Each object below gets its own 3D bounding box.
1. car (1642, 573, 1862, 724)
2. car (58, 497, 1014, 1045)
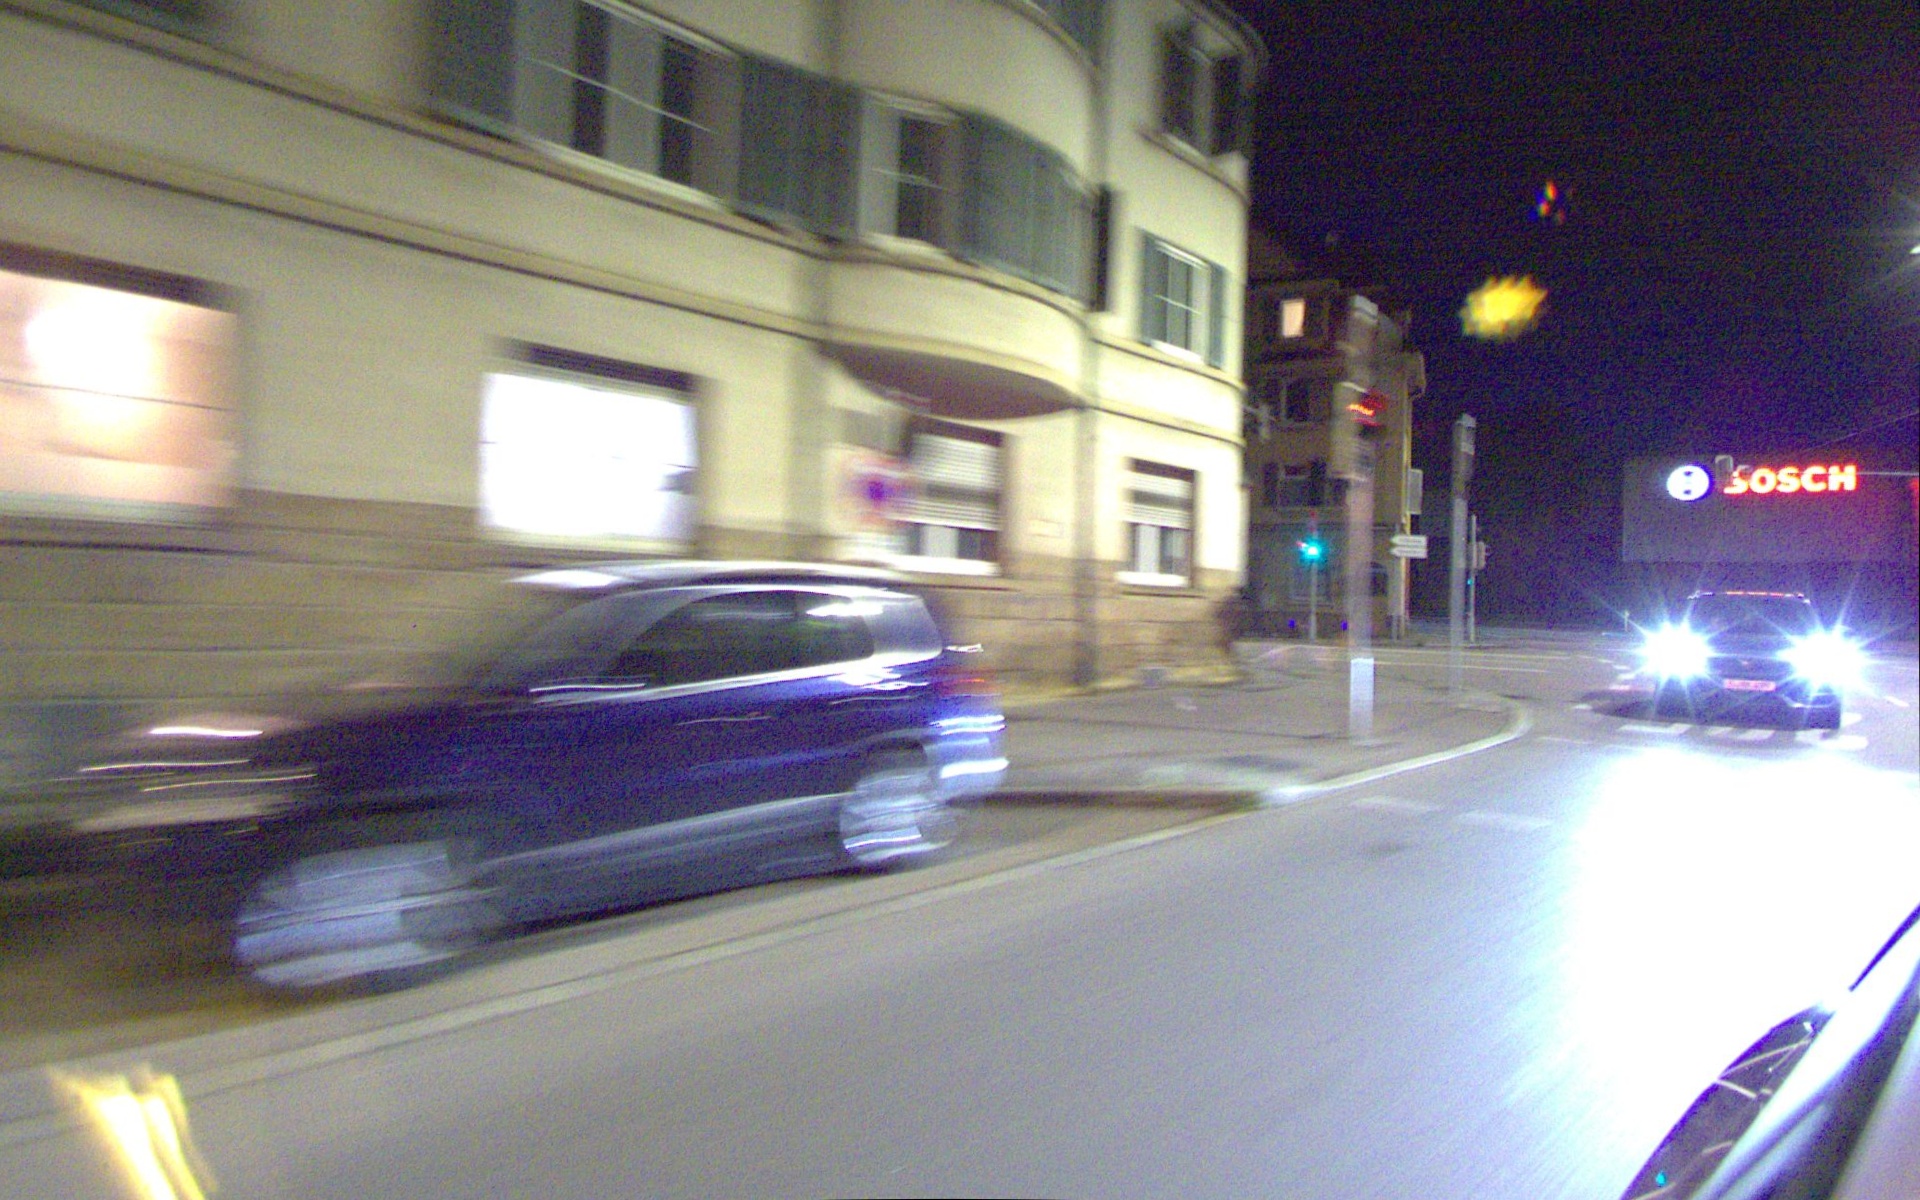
[{"bbox_3d":[10.450,0.532,13.310,1.992,1.636,3.941,2,1,41],"label":"car"},{"bbox_3d":[-1.822,0.494,5.205,4.186,1.703,1.746,0,2,-43],"label":"car"}]
